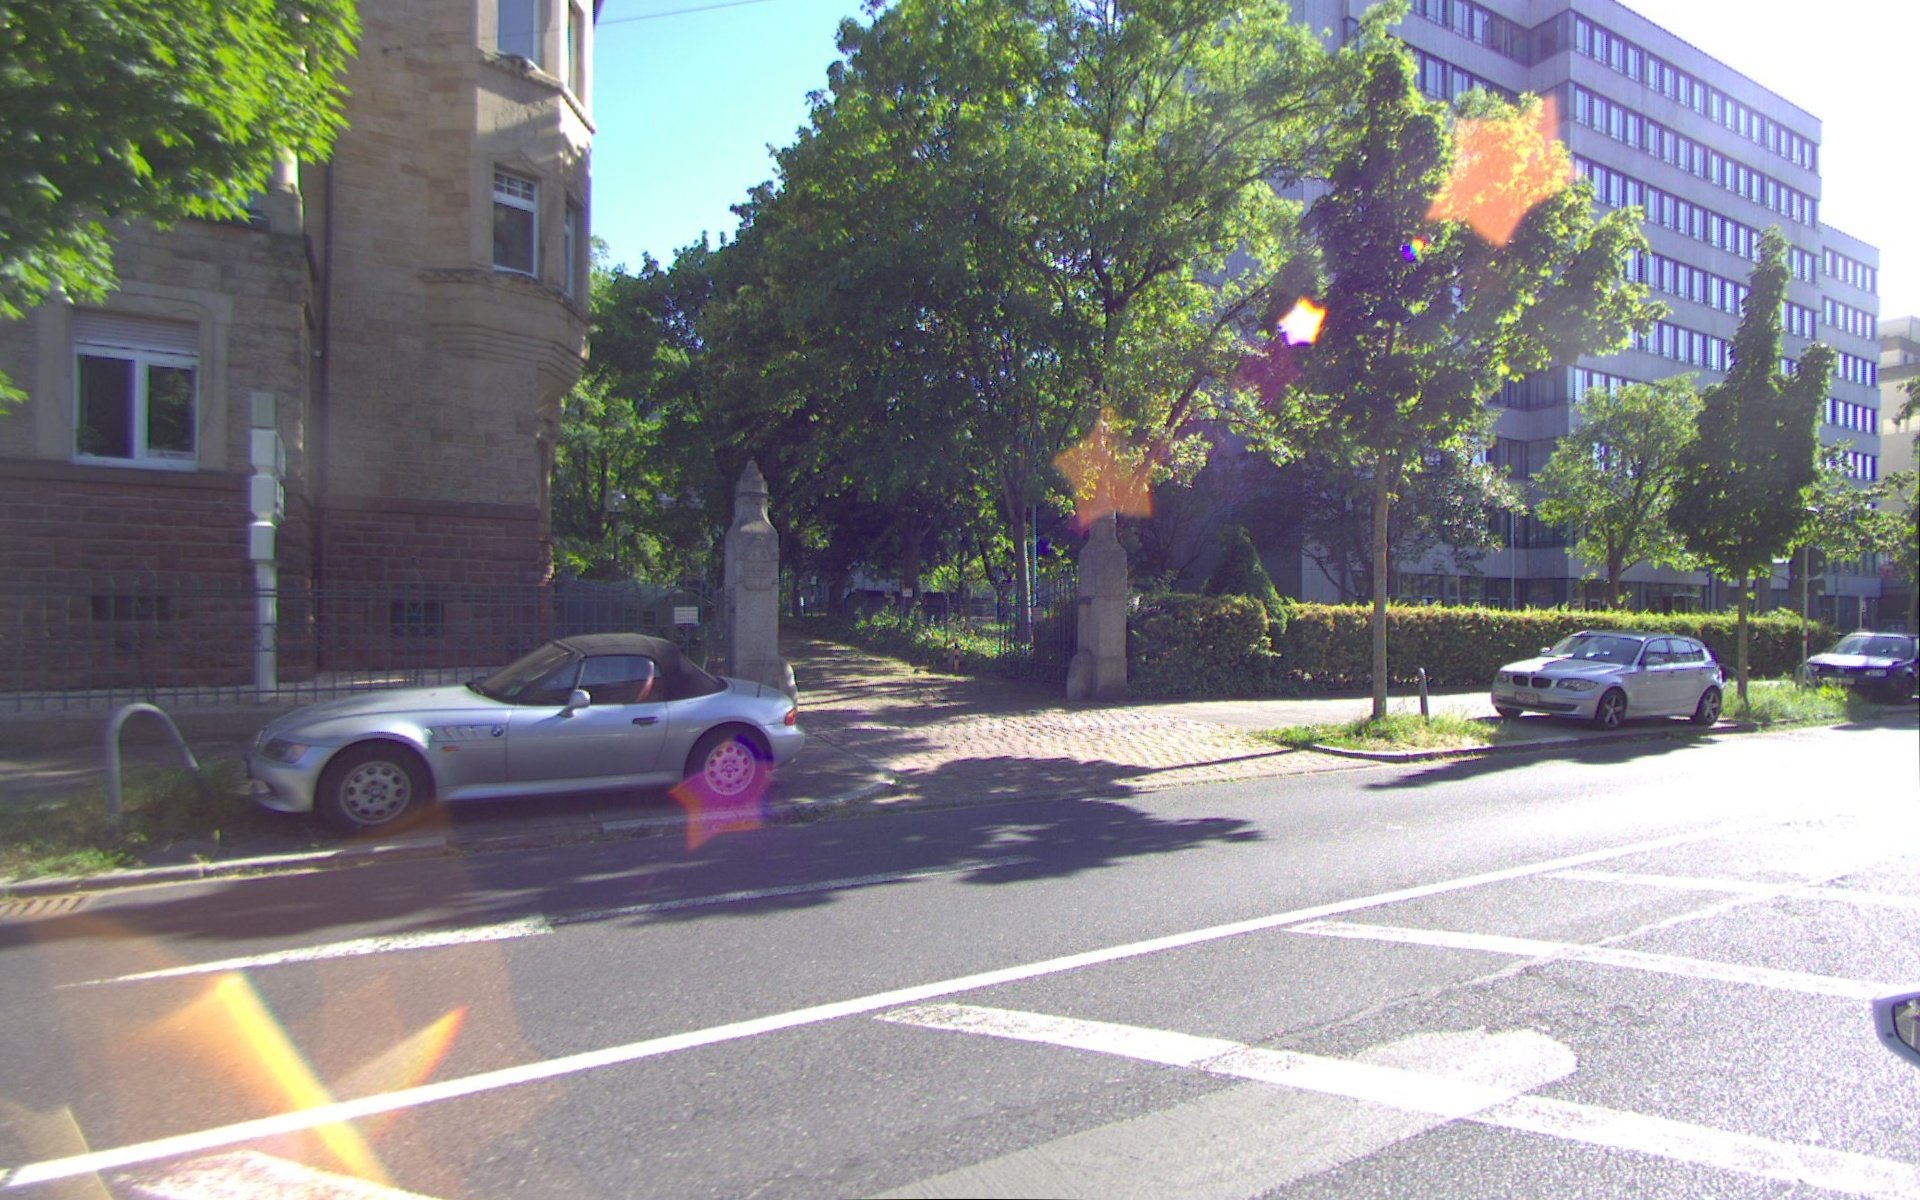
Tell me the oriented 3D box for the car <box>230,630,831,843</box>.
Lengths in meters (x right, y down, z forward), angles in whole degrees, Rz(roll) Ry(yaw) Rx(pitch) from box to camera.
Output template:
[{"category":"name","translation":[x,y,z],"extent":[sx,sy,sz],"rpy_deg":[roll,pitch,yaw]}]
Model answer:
[{"category":"car","translation":[-3.177,0.893,7.918],"extent":[3.967,1.272,1.670],"rpy_deg":[1,-1,-30]}]

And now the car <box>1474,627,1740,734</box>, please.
[{"category":"car","translation":[10.236,1.182,15.849],"extent":[4.138,1.402,1.681],"rpy_deg":[1,2,-28]}]

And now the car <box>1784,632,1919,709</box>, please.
[{"category":"car","translation":[19.747,1.453,21.652],"extent":[4.022,1.478,1.704],"rpy_deg":[1,-1,-29]}]
